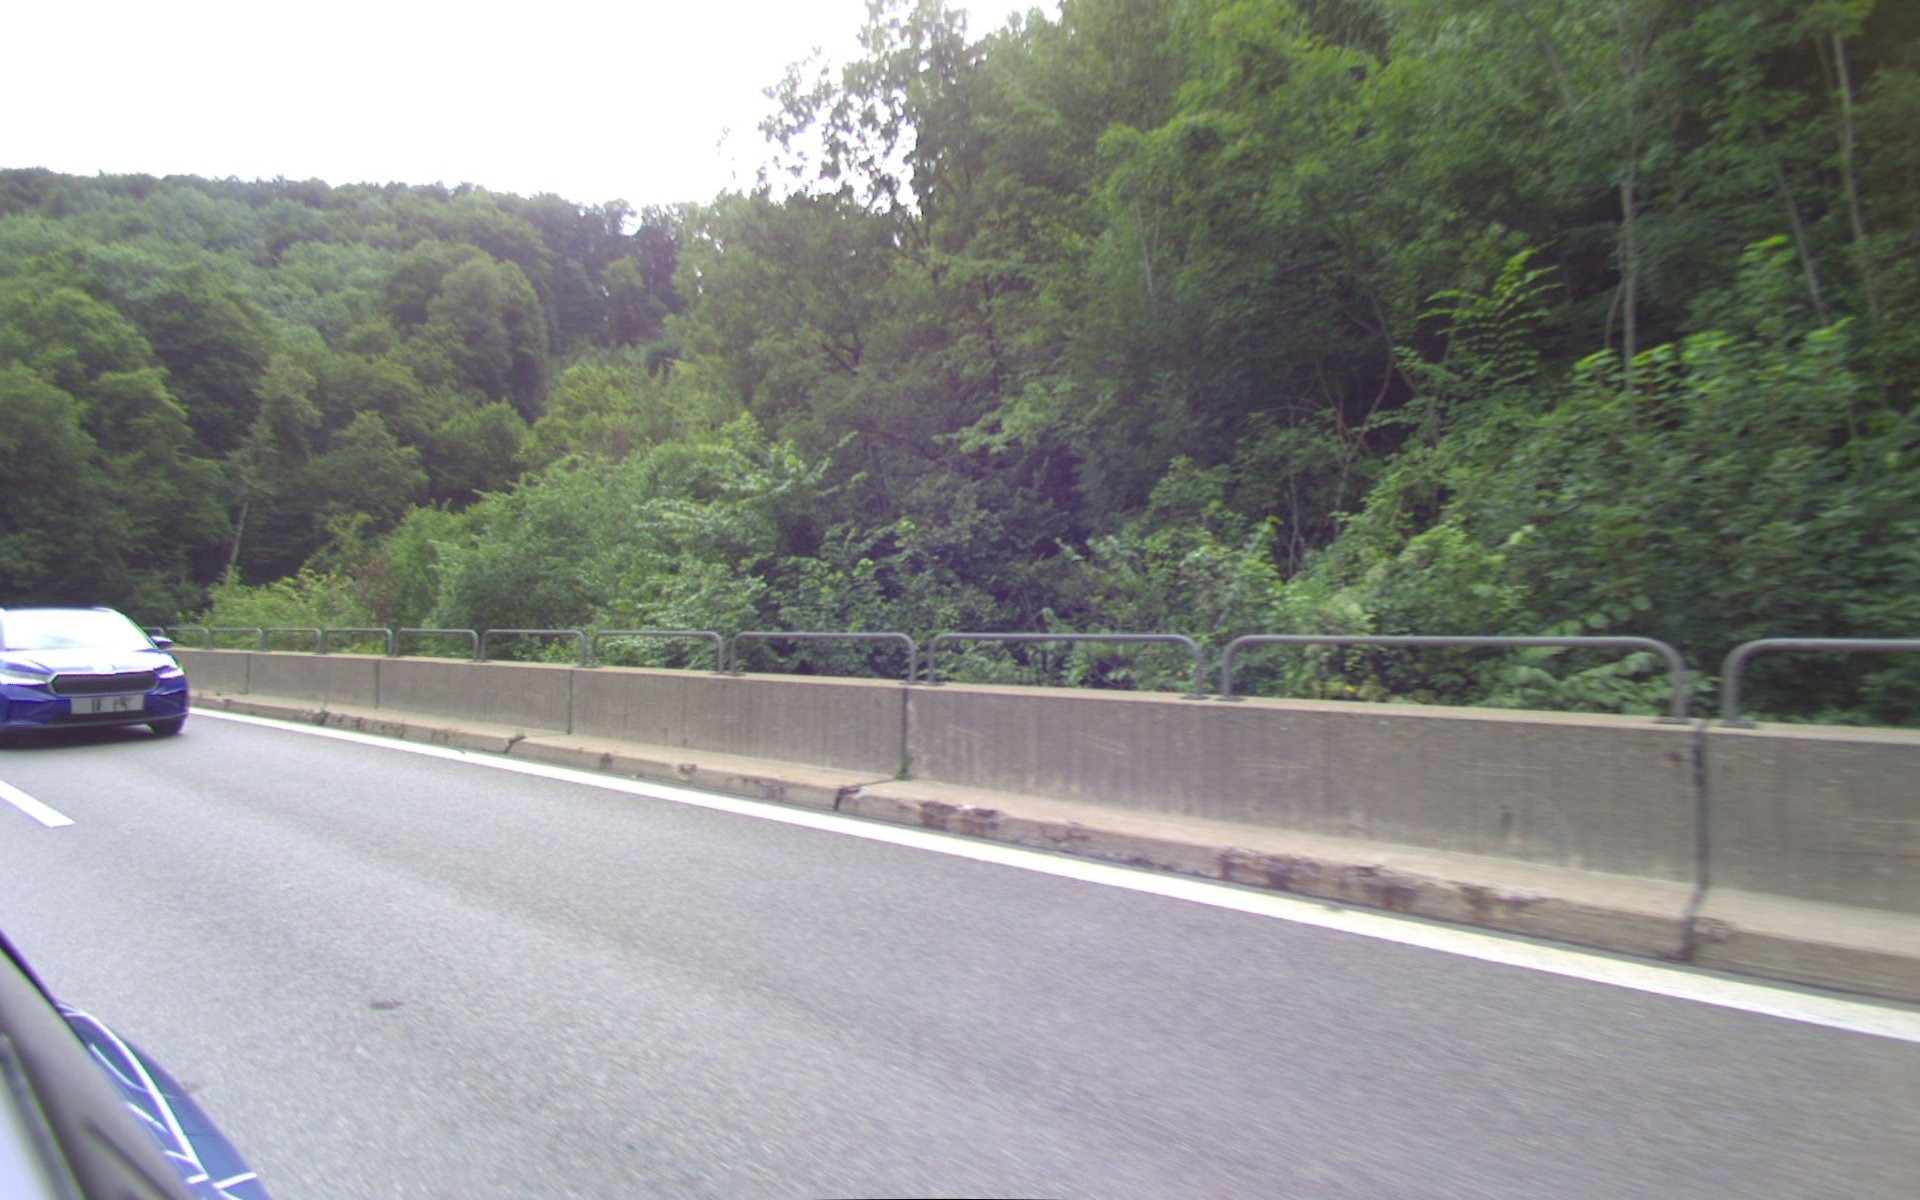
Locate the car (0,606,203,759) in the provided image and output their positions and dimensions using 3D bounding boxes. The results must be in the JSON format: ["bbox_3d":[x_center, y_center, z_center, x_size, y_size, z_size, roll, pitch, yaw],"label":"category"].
[{"bbox_3d":[-11.813,0.945,13.145,5.002,1.644,1.974,-1,-1,38],"label":"car"}]
